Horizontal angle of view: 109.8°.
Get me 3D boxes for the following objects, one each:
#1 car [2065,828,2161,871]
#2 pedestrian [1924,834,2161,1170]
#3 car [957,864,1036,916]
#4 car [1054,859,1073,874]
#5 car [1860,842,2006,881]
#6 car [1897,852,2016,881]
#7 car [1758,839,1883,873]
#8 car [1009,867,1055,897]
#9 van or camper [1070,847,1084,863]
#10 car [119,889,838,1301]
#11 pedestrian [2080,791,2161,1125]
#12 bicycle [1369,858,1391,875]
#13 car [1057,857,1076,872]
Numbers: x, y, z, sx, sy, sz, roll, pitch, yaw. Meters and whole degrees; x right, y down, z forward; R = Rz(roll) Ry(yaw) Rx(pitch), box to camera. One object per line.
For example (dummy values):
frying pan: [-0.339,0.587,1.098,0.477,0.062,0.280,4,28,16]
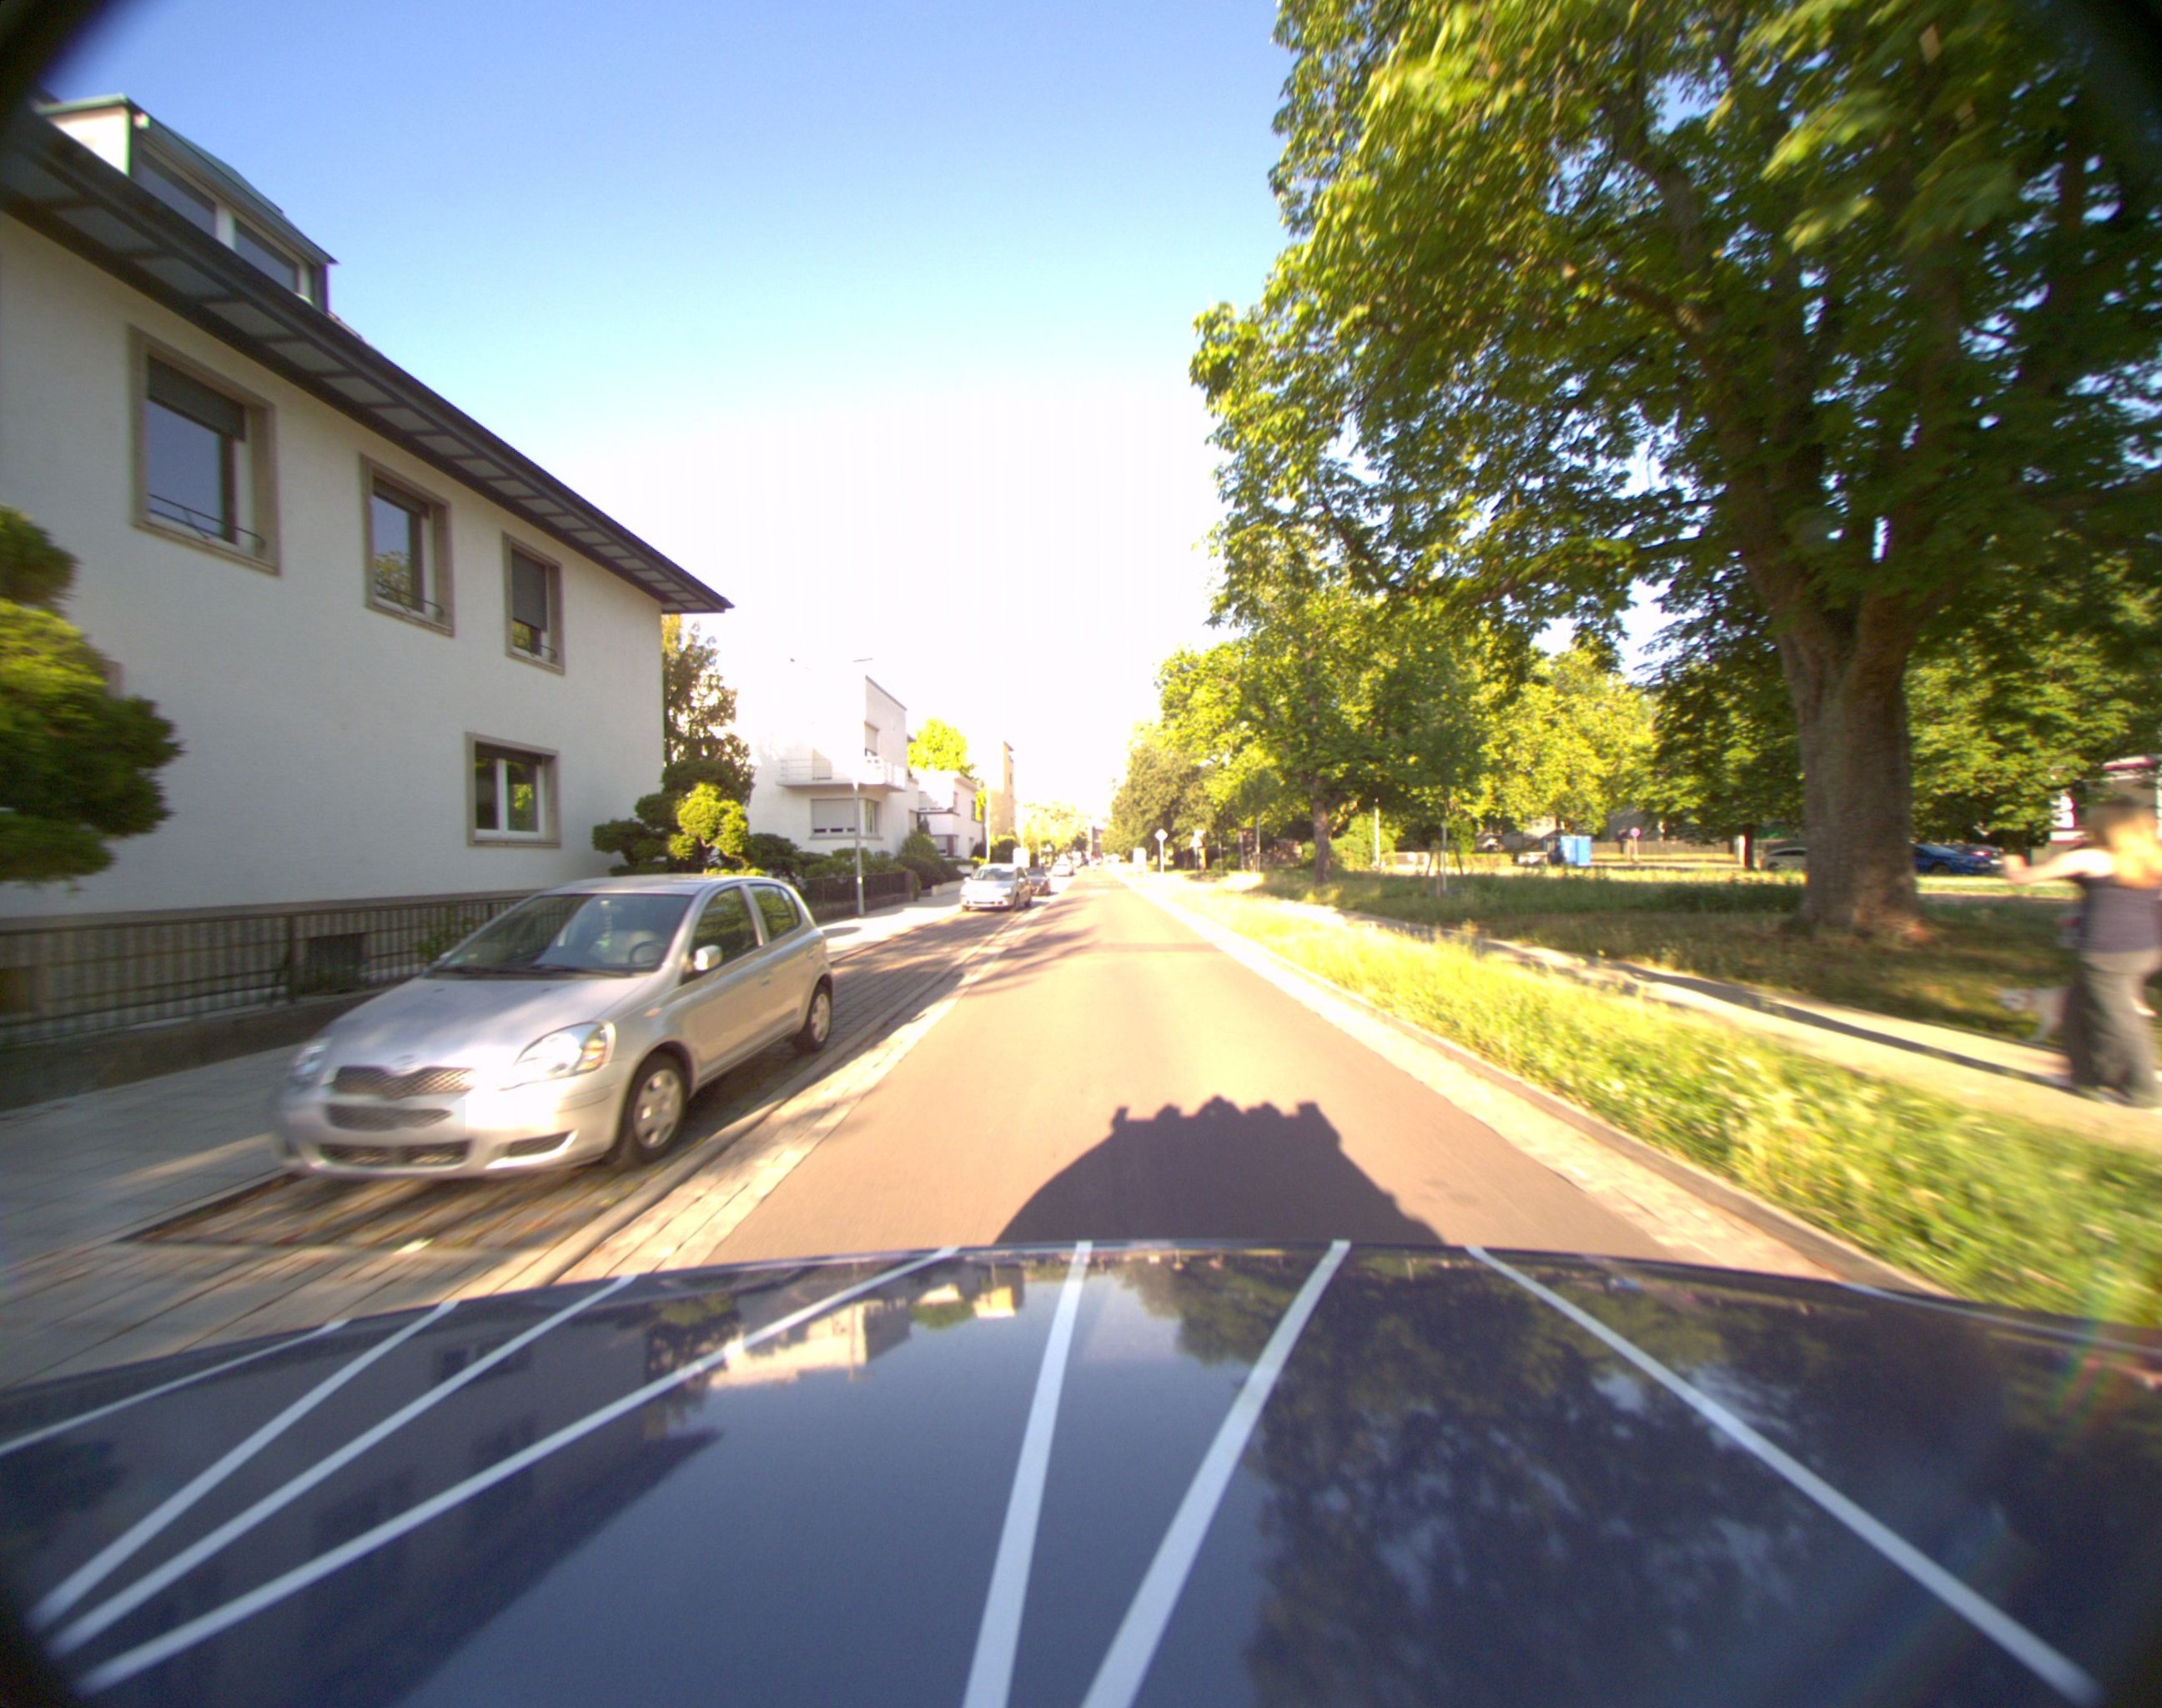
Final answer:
car: [37.550,-0.179,26.202,1.697,1.468,4.221,-2,0,-1]
pedestrian: [5.465,0.706,4.089,0.785,1.605,0.952,-1,0,4]
car: [-2.643,1.108,24.623,1.748,1.465,3.924,2,0,5]
car: [-1.644,1.176,72.685,1.567,1.382,4.374,0,0,1]
car: [37.942,0.328,33.994,1.697,1.588,4.220,-2,0,-2]
car: [43.485,0.602,37.870,1.574,1.324,3.852,-2,0,2]
car: [38.061,0.126,39.301,1.697,1.588,4.756,-2,0,-2]
car: [-2.293,1.296,36.318,1.779,1.281,4.273,1,-1,1]
van or camper: [-0.684,0.131,131.414,2.427,2.766,5.952,1,0,0]
car: [-3.008,1.045,4.864,1.631,1.496,3.634,1,0,2]
pedestrian: [6.188,0.562,4.018,0.625,1.820,0.886,-1,0,4]
bicycle: [21.006,0.888,53.380,1.591,1.180,0.419,-1,1,-21]
car: [-1.500,1.073,78.323,1.682,1.546,4.131,0,0,2]
